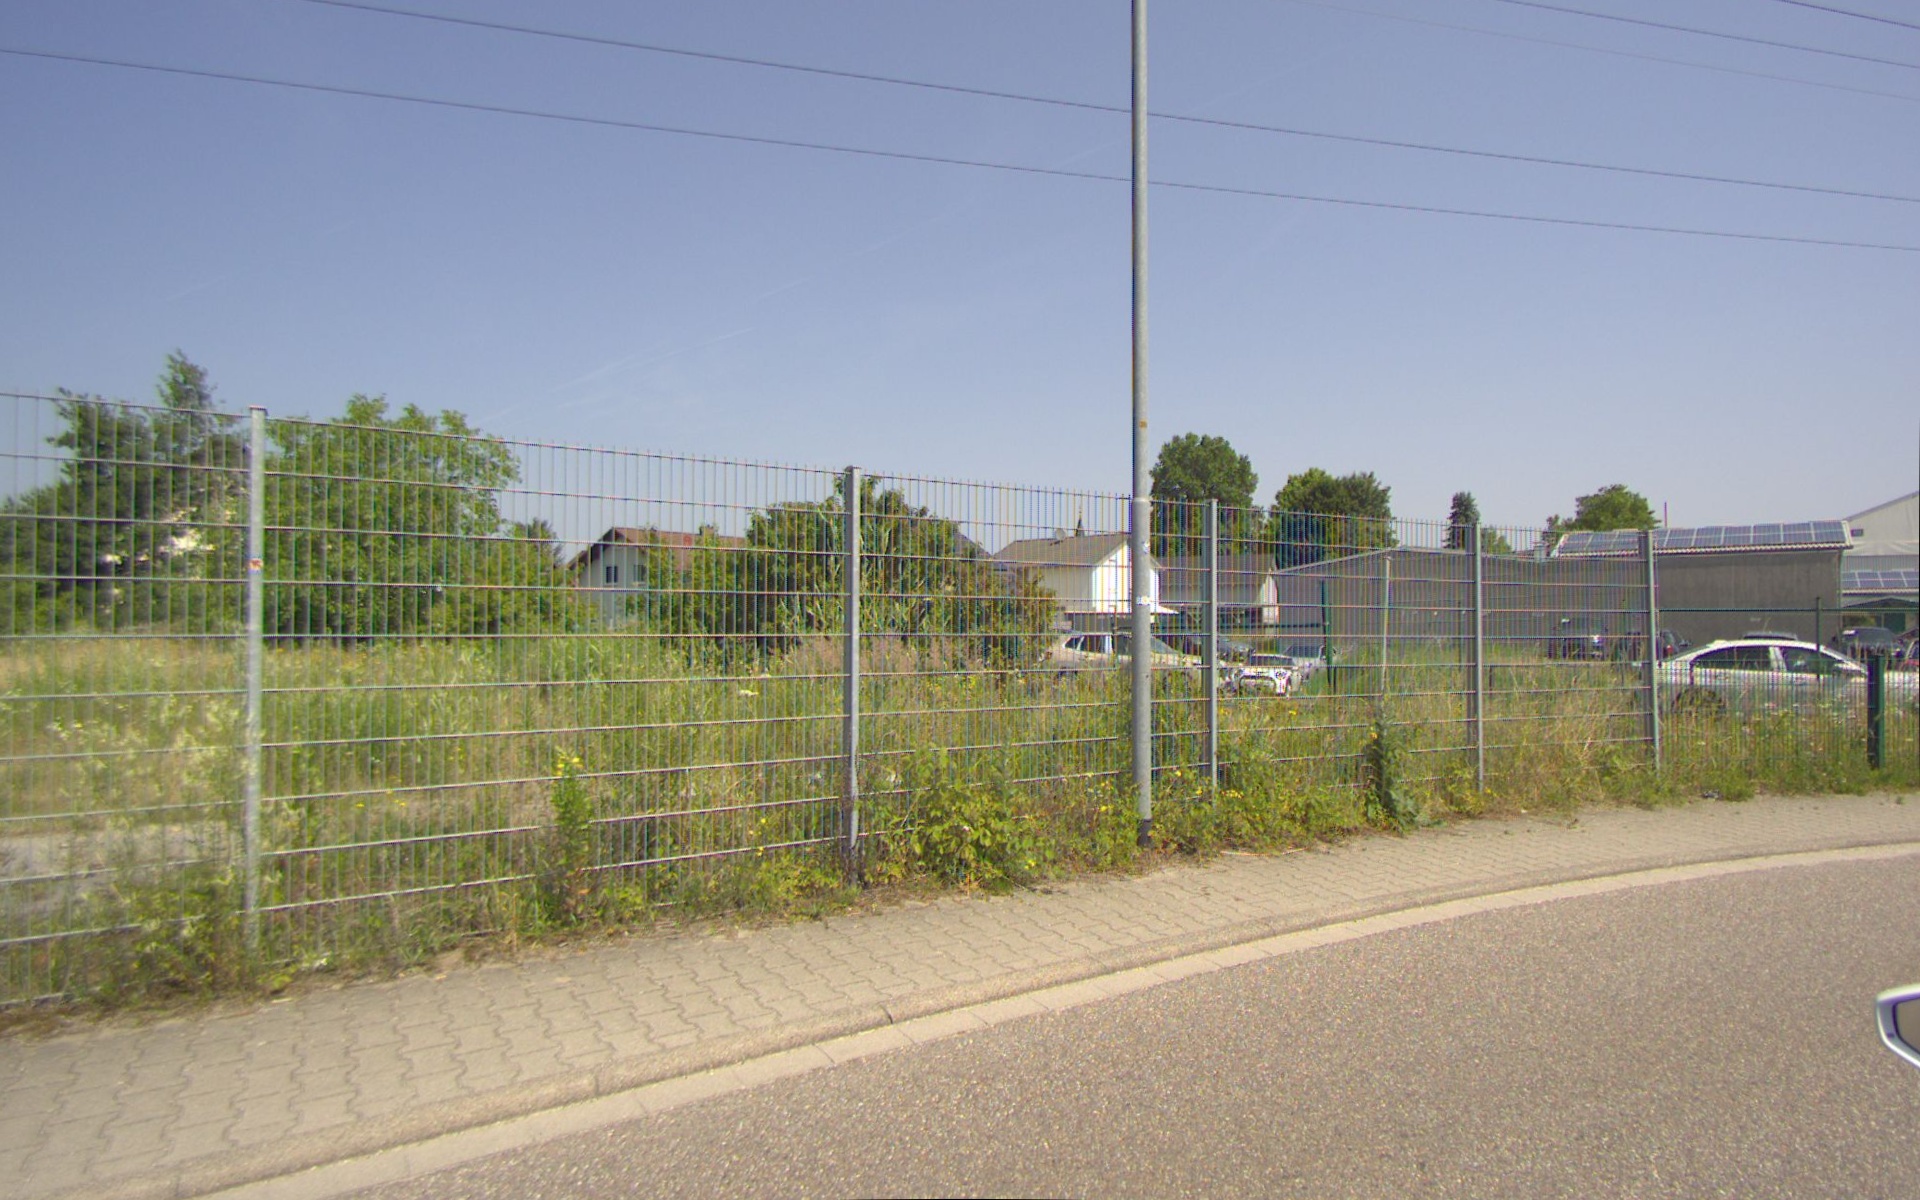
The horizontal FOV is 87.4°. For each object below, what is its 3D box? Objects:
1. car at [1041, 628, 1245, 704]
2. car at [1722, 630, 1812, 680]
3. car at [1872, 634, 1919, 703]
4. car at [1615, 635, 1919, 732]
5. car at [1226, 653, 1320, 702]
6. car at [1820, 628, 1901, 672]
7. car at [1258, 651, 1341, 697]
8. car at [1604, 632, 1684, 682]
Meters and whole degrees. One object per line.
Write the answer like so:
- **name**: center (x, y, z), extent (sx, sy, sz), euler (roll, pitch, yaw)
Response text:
- **car**: center (4.308, 1.485, 23.956), extent (4.370, 1.583, 2.033), euler (0, -1, 39)
- **car**: center (23.186, 1.532, 28.960), extent (1.838, 1.315, 3.429), euler (0, -1, 36)
- **car**: center (22.227, 1.533, 22.925), extent (1.839, 1.473, 3.427), euler (0, -1, 38)
- **car**: center (13.398, 1.276, 16.295), extent (4.493, 1.324, 1.860), euler (0, -1, 39)
- **car**: center (9.809, 2.372, 31.375), extent (1.634, 1.332, 3.376), euler (0, -1, 40)
- **car**: center (32.110, 1.730, 35.923), extent (1.839, 1.452, 4.585), euler (0, -1, 38)
- **car**: center (13.851, 2.953, 40.868), extent (1.969, 1.639, 3.983), euler (-1, -1, 38)
- **car**: center (21.327, 1.730, 31.434), extent (1.836, 1.433, 3.434), euler (0, -1, 31)
